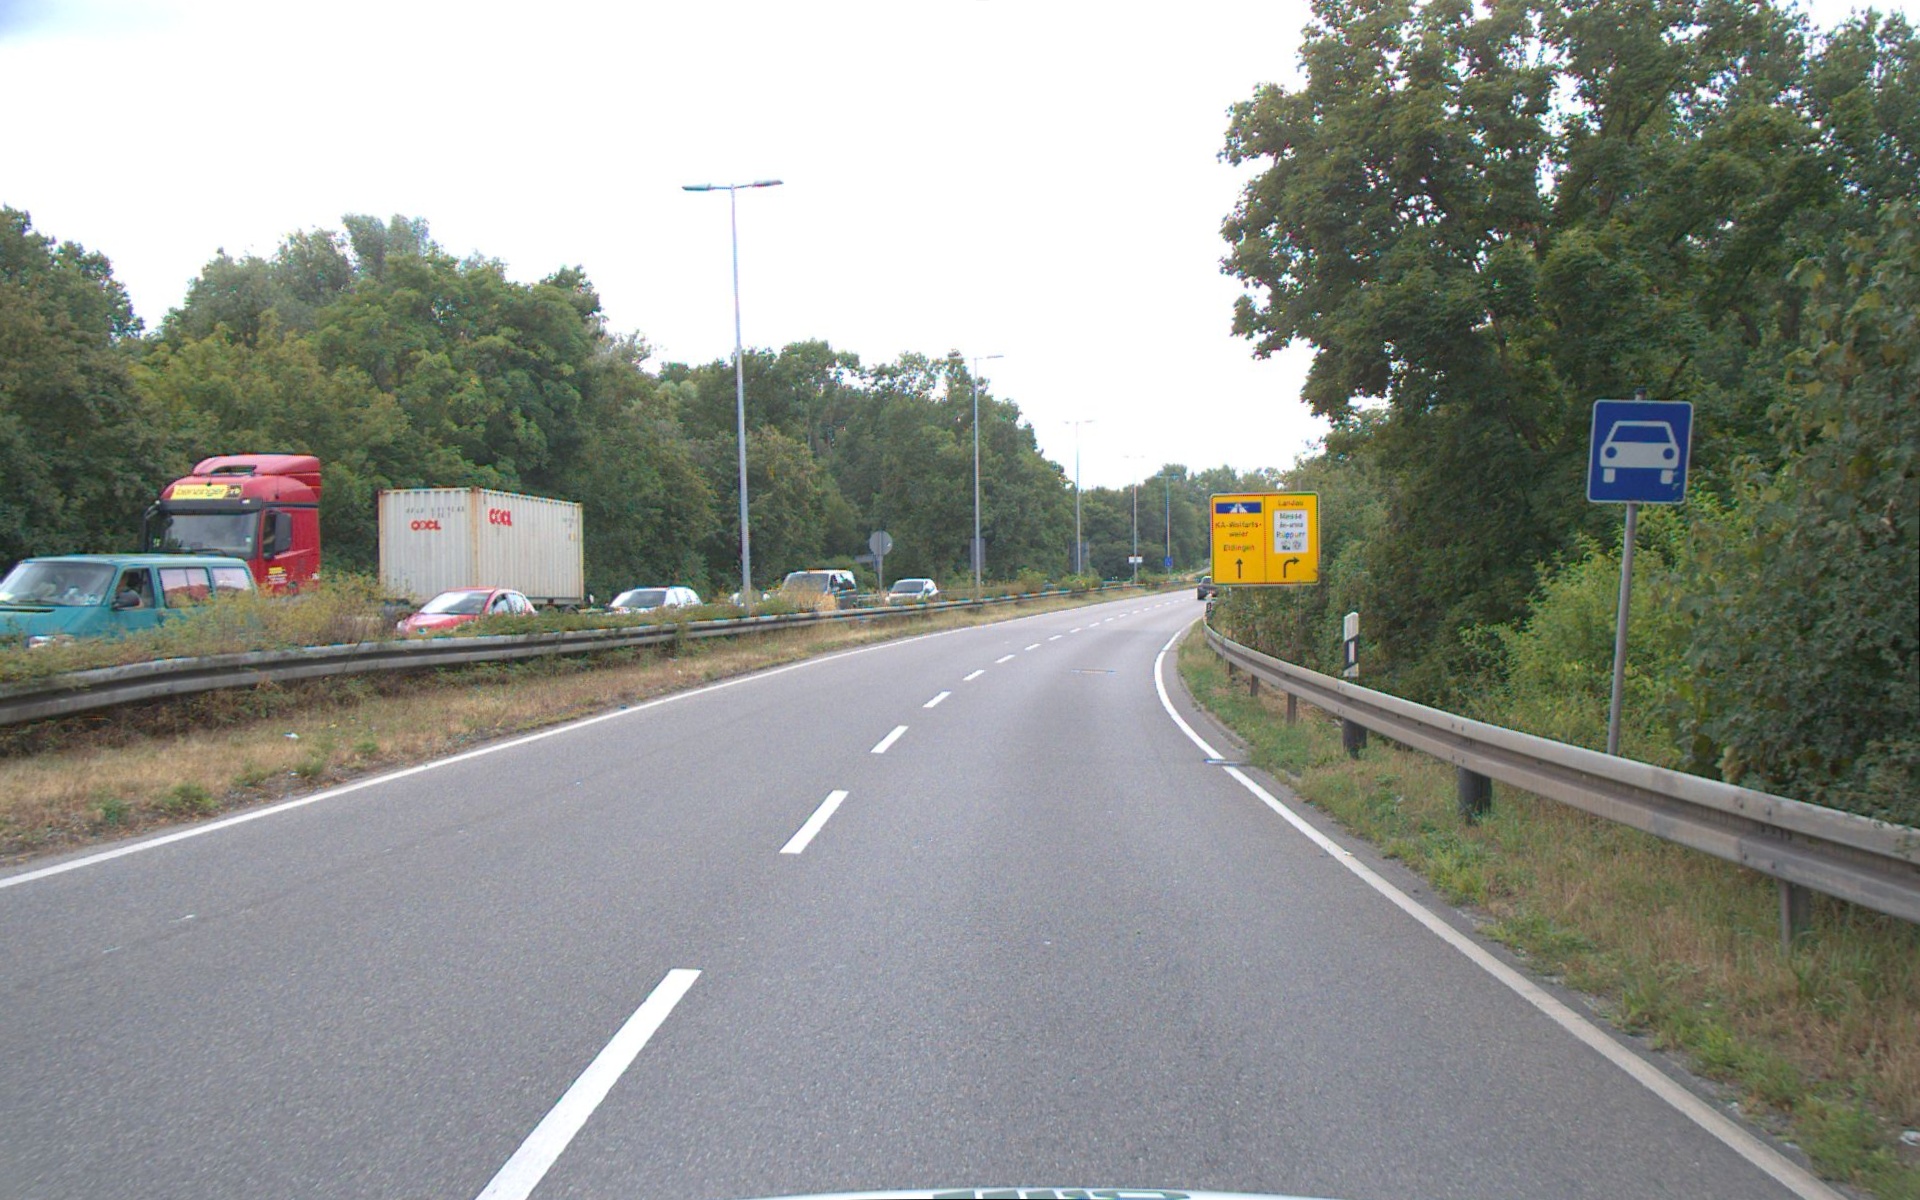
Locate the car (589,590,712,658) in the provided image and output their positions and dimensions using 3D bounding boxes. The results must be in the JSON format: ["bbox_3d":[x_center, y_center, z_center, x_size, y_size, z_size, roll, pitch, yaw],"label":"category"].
[{"bbox_3d":[-7.972,0.602,43.036,1.801,1.696,4.339,0,0,9],"label":"car"}]

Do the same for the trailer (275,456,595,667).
[{"bbox_3d":[-11.754,-0.760,38.595,2.480,4.220,10.781,0,0,9],"label":"trailer"}]

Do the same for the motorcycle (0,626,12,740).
[{"bbox_3d":[-10.960,0.908,17.192,0.782,1.246,2.327,0,0,3],"label":"motorcycle"}]

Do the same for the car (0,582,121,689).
[{"bbox_3d":[-14.100,0.496,23.643,1.766,1.492,4.281,0,0,5],"label":"car"}]

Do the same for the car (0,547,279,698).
[{"bbox_3d":[-11.133,0.274,21.817,1.765,1.759,4.964,0,0,7],"label":"car"}]

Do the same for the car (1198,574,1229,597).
[{"bbox_3d":[16.193,-0.891,105.499,1.591,1.401,4.003,0,0,14],"label":"car"}]

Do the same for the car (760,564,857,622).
[{"bbox_3d":[-5.093,-0.215,56.311,1.966,1.896,5.282,0,0,10],"label":"car"}]

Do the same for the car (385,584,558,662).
[{"bbox_3d":[-9.680,0.440,33.120,1.765,1.457,4.129,0,0,8],"label":"car"}]

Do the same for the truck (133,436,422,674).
[{"bbox_3d":[-12.902,-0.772,31.810,2.513,4.155,5.627,0,0,10],"label":"truck"}]
